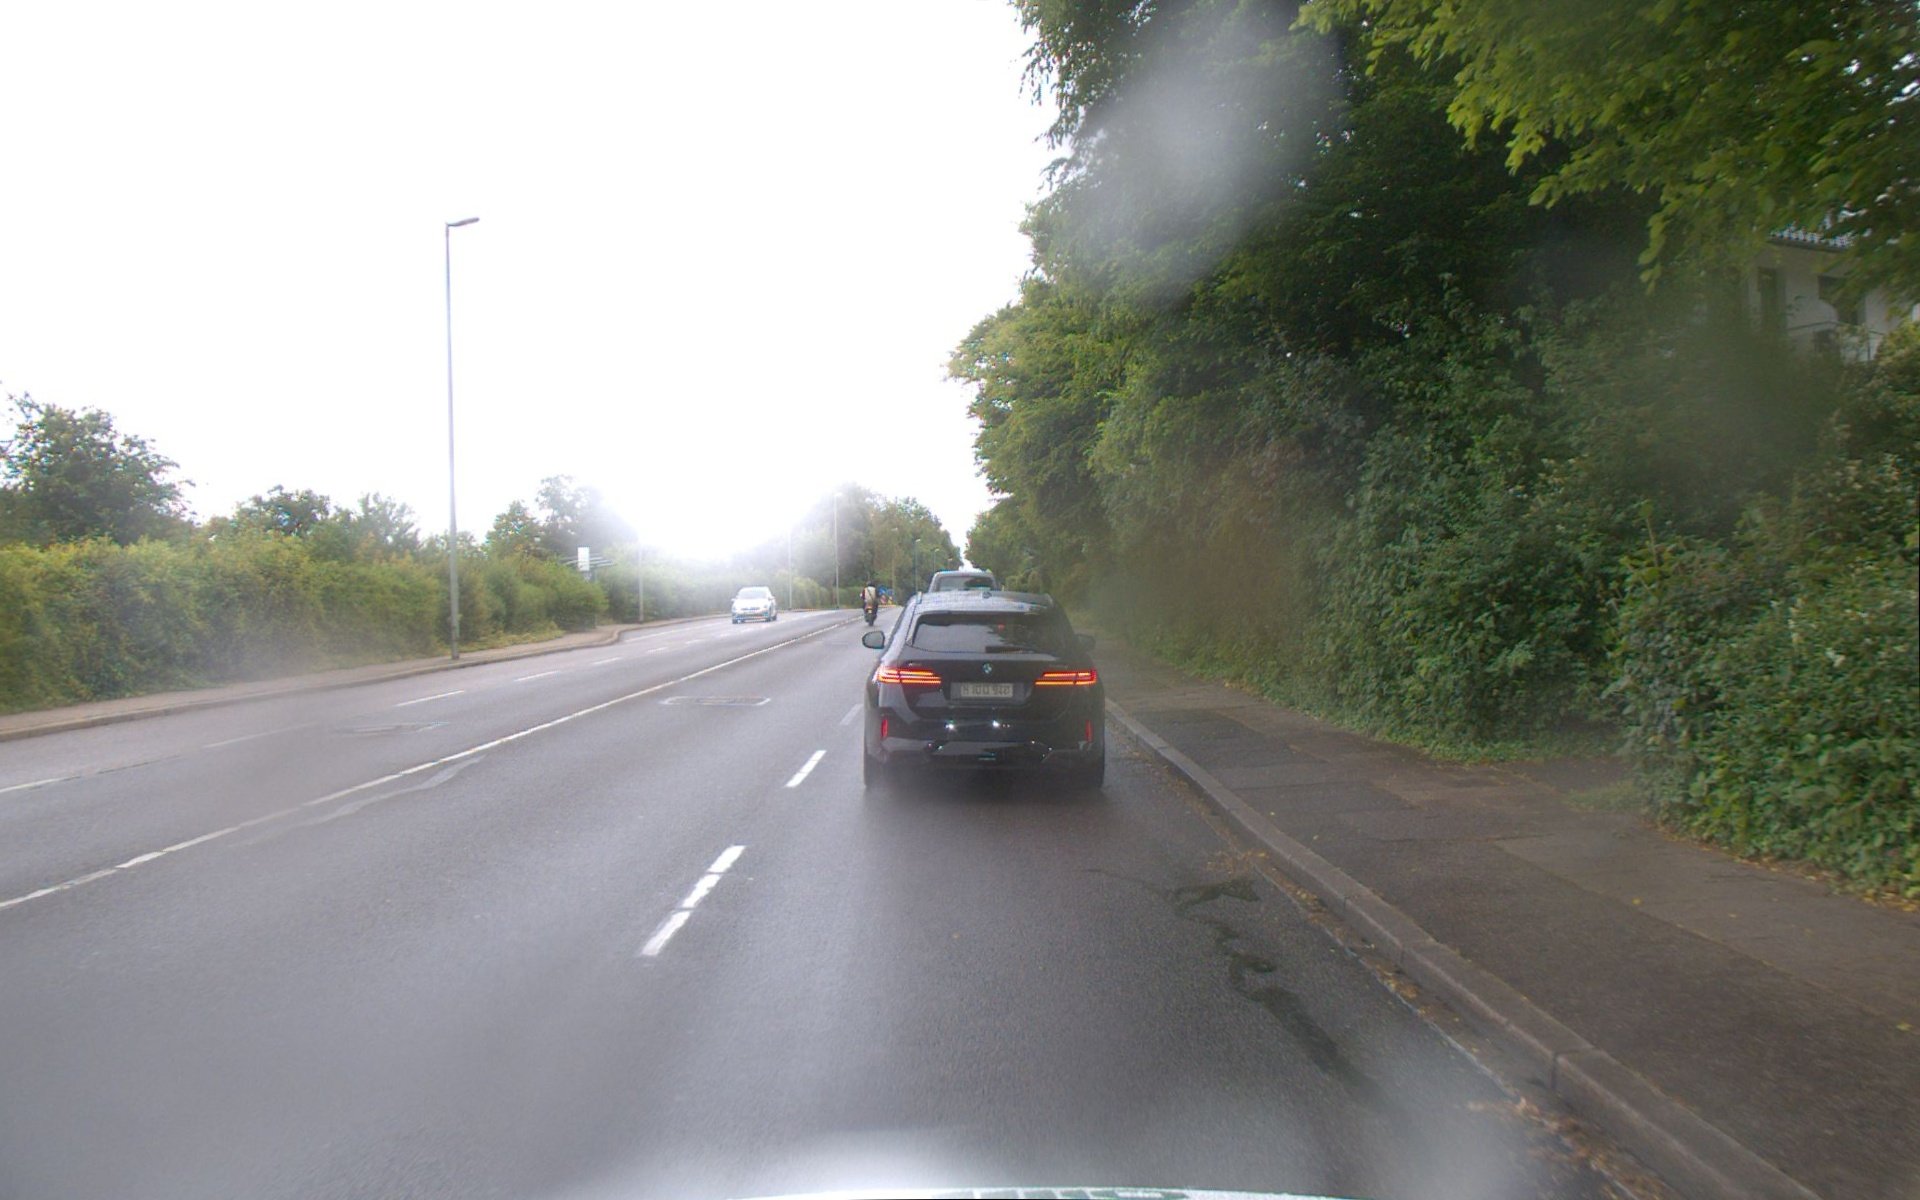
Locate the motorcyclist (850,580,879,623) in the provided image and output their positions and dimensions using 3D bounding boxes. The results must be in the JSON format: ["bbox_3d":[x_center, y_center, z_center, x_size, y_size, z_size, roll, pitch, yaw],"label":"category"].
[{"bbox_3d":[-3.568,0.071,61.938,1.018,1.595,0.855,1,-1,0],"label":"motorcyclist"}]

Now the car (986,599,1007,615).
[{"bbox_3d":[3.553,0.646,161.609,1.895,1.467,4.409,-2,-1,3],"label":"car"}]

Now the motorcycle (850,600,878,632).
[{"bbox_3d":[-3.582,0.607,61.951,0.858,1.144,2.741,1,-1,0],"label":"motorcycle"}]

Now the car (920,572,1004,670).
[{"bbox_3d":[0.049,0.412,34.385,1.596,1.865,4.000,-2,0,0],"label":"car"}]

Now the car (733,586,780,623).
[{"bbox_3d":[-9.327,0.210,76.041,1.721,1.596,3.999,-2,0,-2],"label":"car"}]

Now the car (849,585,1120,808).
[{"bbox_3d":[0.207,0.685,13.516,1.858,1.515,4.000,1,0,1],"label":"car"}]
